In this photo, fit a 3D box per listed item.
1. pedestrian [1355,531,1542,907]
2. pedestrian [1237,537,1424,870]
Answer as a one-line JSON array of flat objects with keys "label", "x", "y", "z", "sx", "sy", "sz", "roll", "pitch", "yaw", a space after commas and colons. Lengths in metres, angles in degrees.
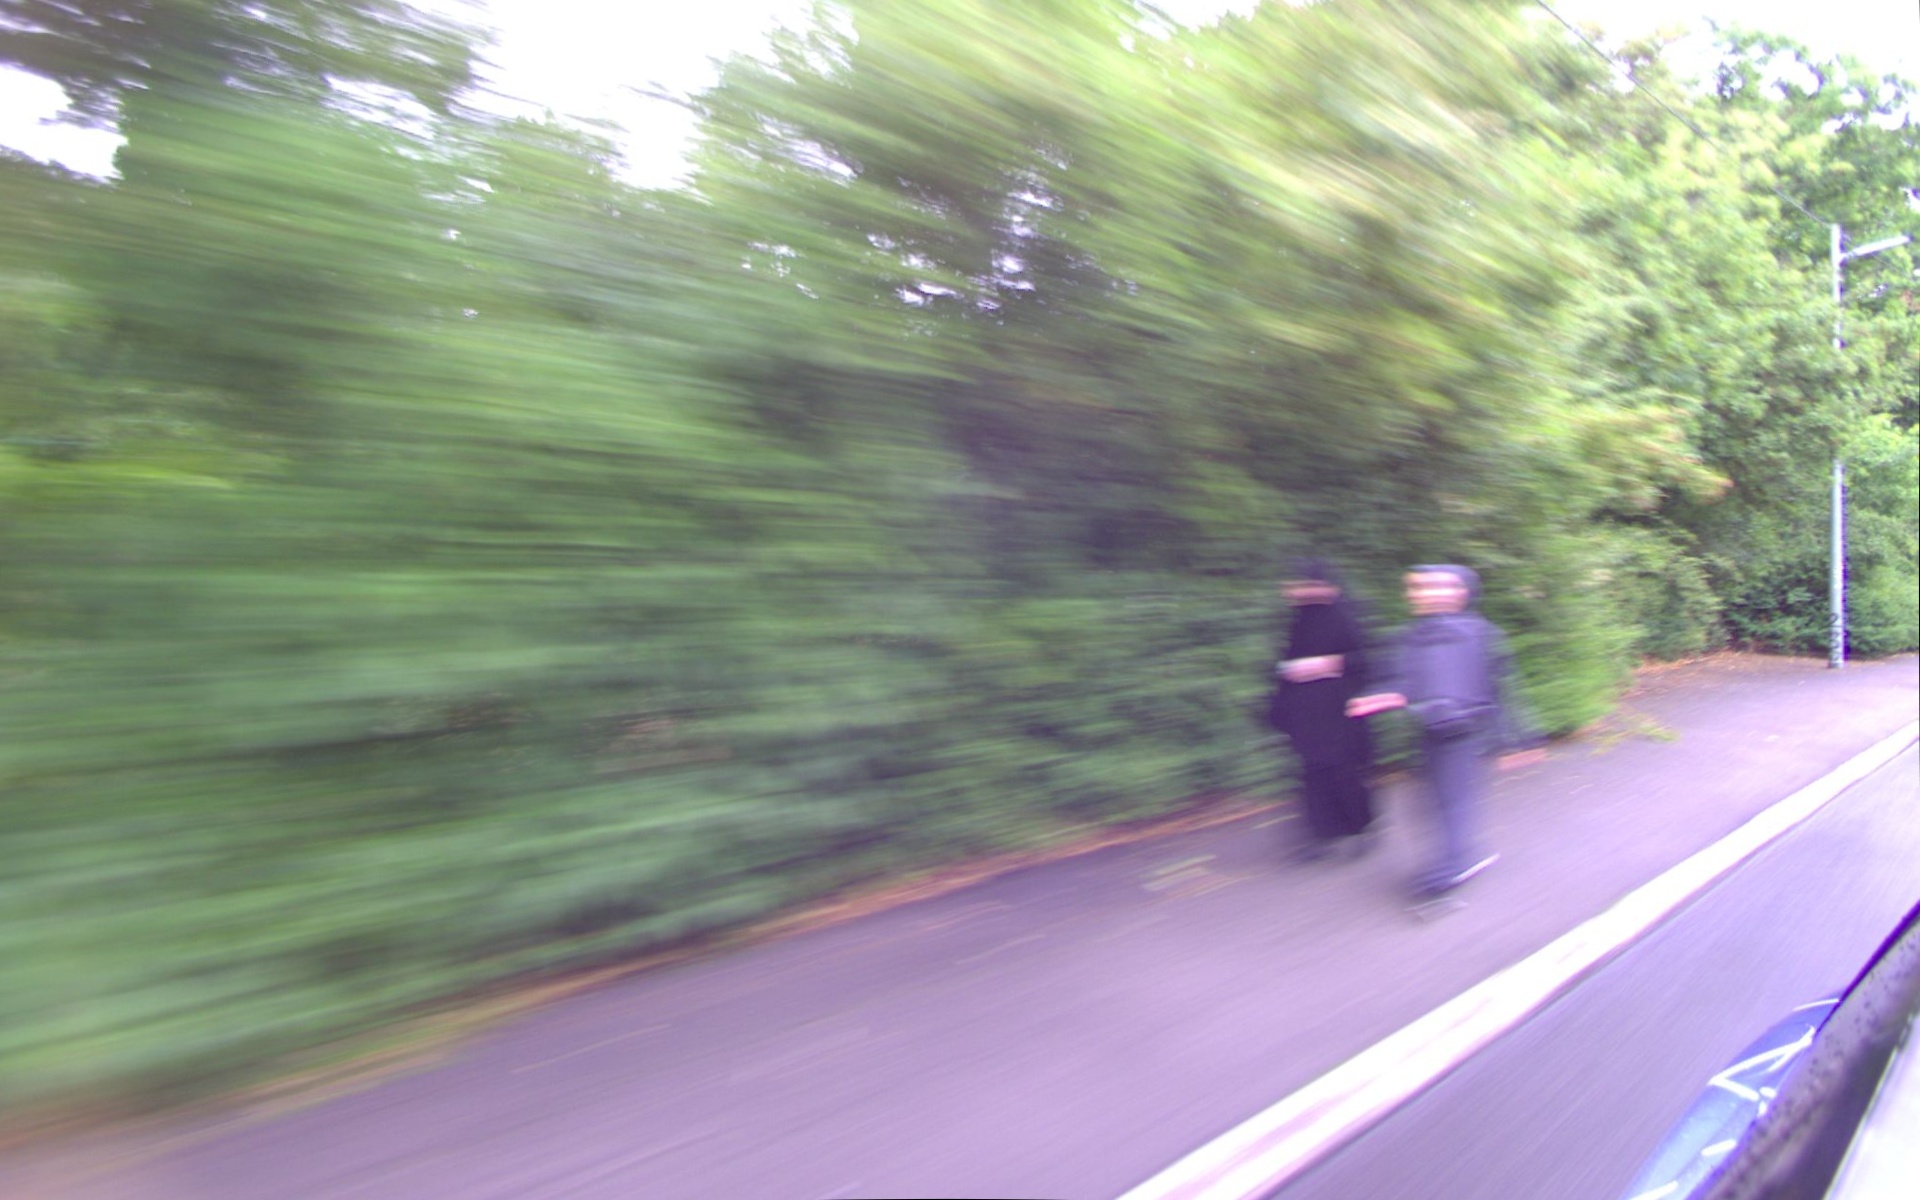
[{"label": "pedestrian", "x": 2.214, "y": 0.491, "z": 4.616, "sx": 0.477, "sy": 1.585, "sz": 0.555, "roll": 0, "pitch": 2, "yaw": -29}, {"label": "pedestrian", "x": 1.914, "y": 0.502, "z": 5.246, "sx": 0.655, "sy": 1.586, "sz": 0.598, "roll": 2, "pitch": -1, "yaw": -28}]
